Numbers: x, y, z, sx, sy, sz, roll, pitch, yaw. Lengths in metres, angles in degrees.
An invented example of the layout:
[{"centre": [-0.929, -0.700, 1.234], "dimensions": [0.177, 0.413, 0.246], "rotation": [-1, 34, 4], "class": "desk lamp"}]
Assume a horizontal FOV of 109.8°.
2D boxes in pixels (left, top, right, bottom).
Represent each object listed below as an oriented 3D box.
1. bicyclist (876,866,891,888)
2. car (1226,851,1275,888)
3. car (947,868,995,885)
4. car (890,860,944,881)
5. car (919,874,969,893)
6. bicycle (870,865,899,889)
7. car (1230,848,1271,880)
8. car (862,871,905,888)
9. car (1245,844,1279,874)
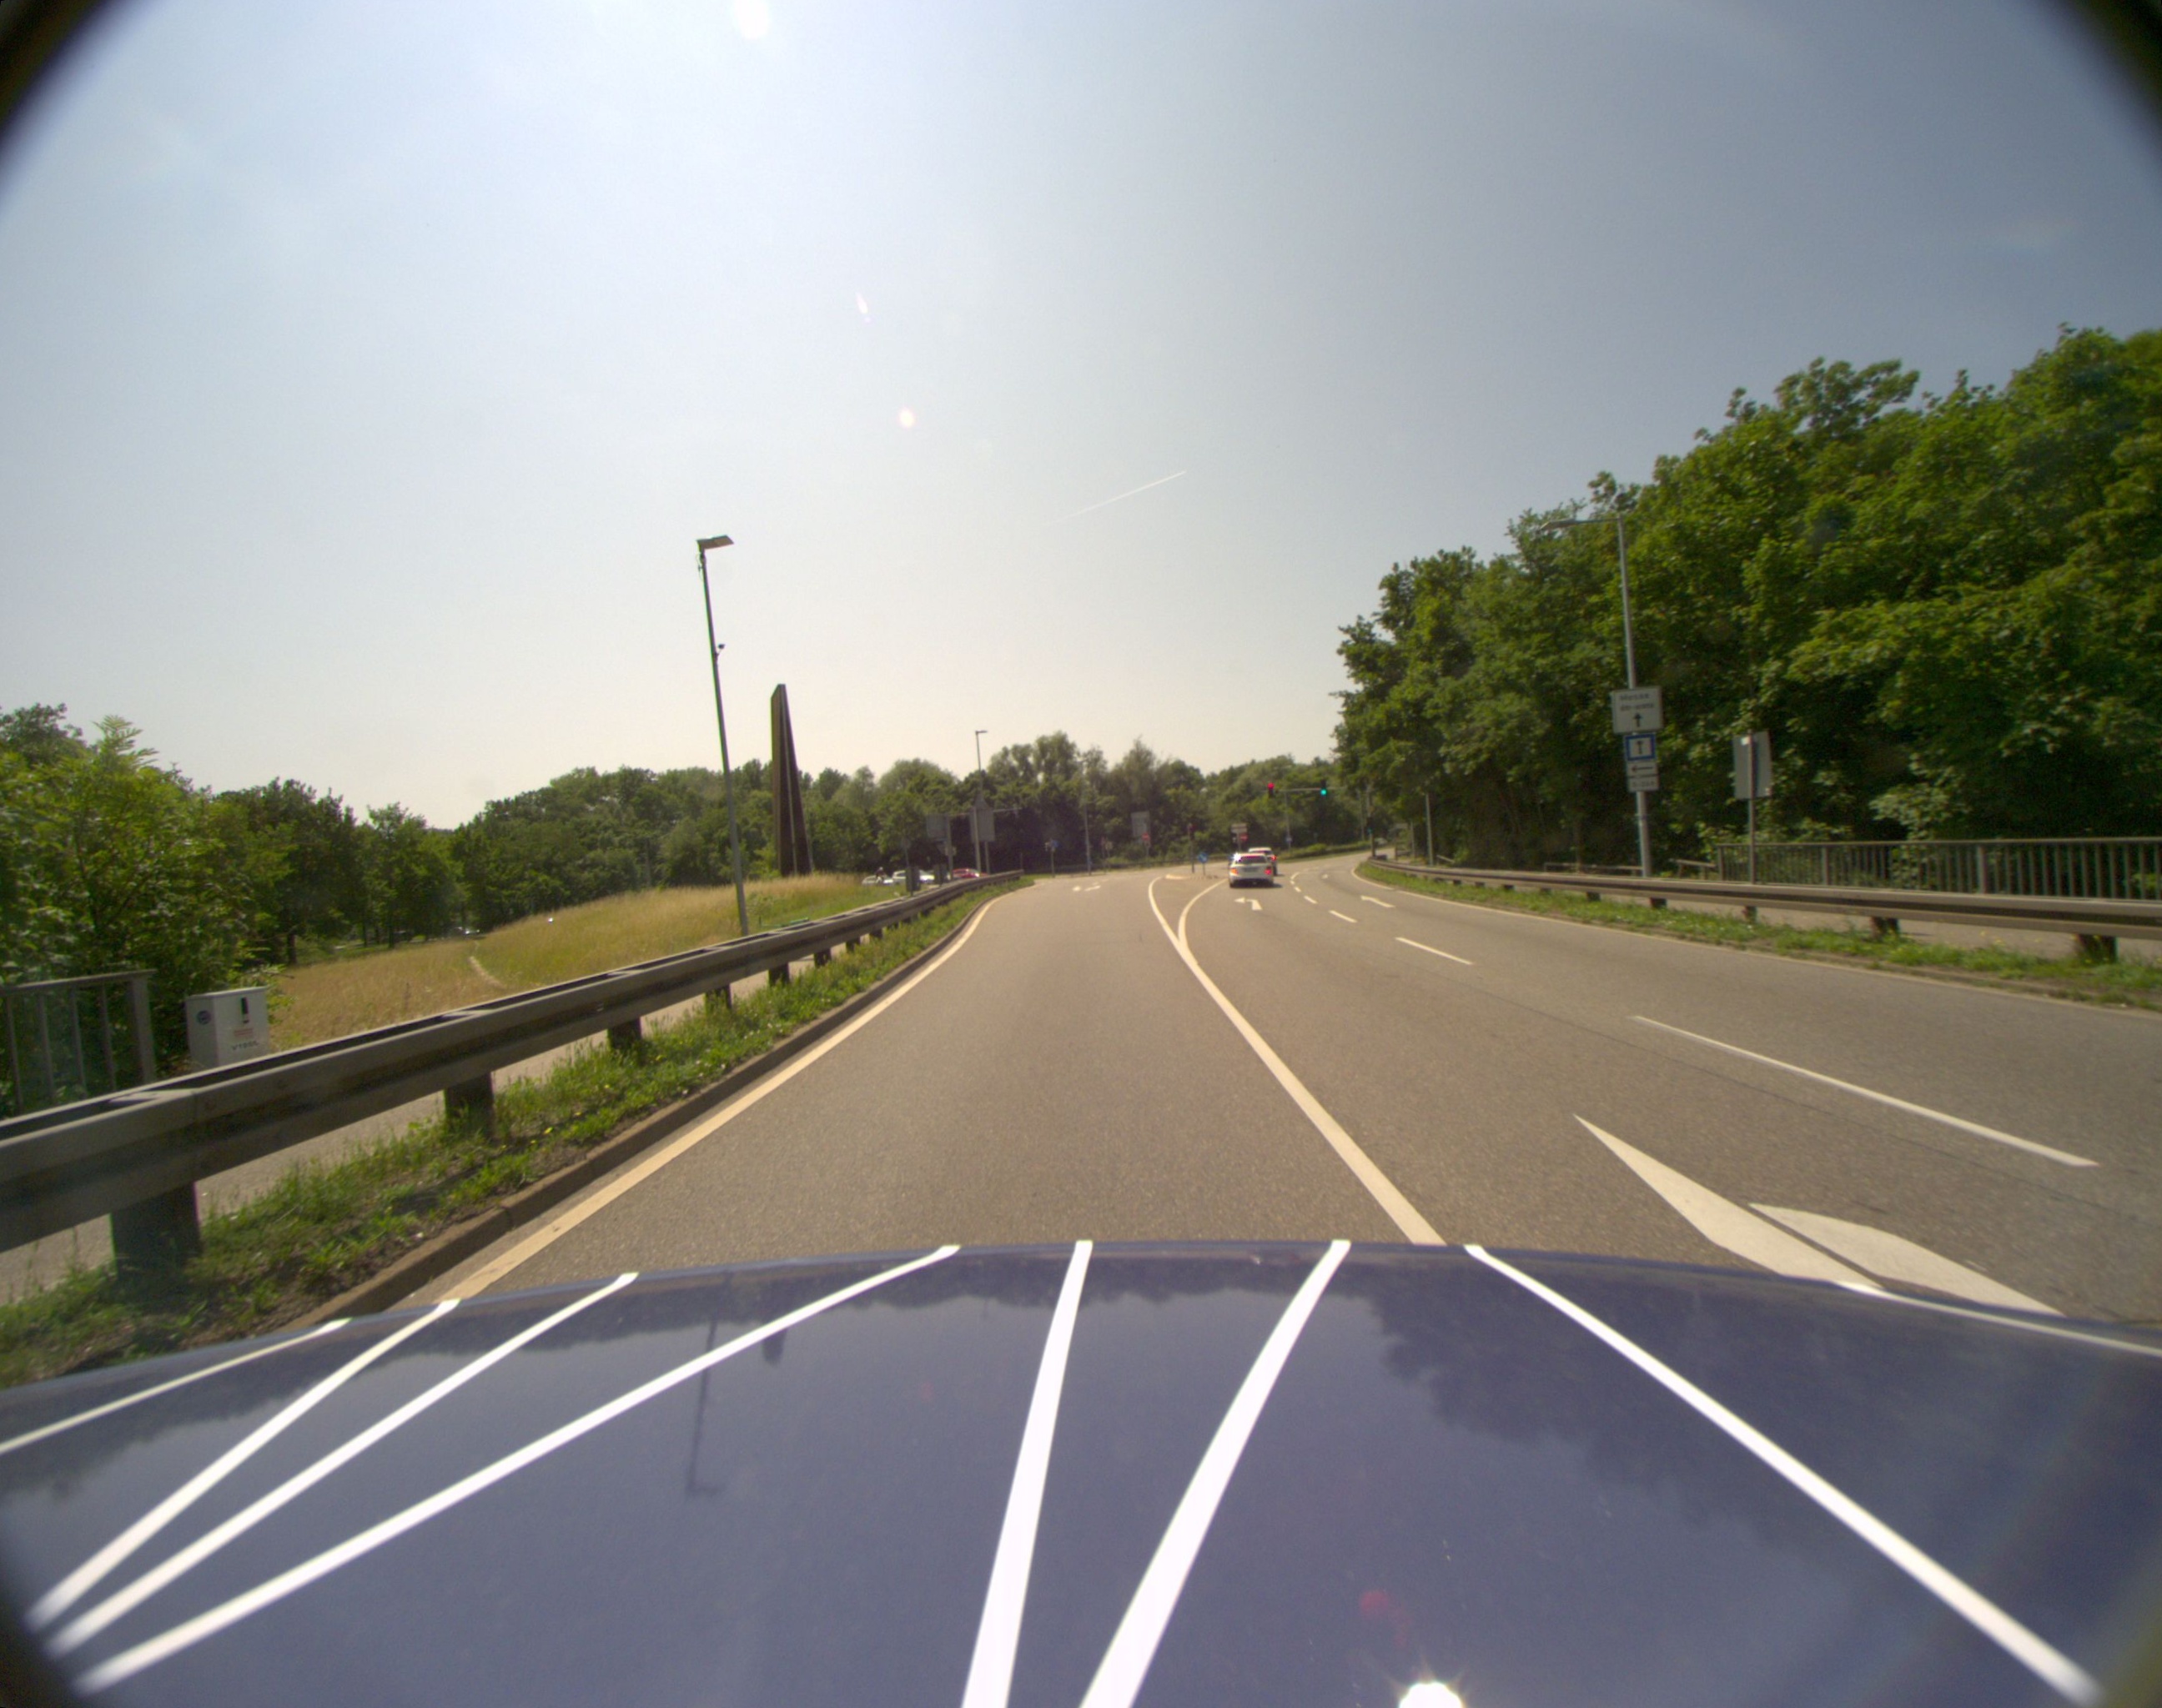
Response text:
[{"centre": [-14.300, 1.660, 54.920], "dimensions": [0.690, 1.589, 0.672], "rotation": [-3, 1, 39], "class": "bicyclist"}, {"centre": [7.268, 0.615, 32.305], "dimensions": [1.830, 1.398, 4.892], "rotation": [-1, 0, 14], "class": "car"}, {"centre": [-10.061, 2.052, 69.585], "dimensions": [4.176, 1.346, 1.758], "rotation": [-4, 0, 34], "class": "car"}, {"centre": [-13.689, 1.421, 63.475], "dimensions": [4.286, 1.497, 1.871], "rotation": [-4, 0, 34], "class": "car"}, {"centre": [-12.072, 2.640, 66.940], "dimensions": [4.176, 1.415, 1.871], "rotation": [-4, 0, 34], "class": "car"}, {"centre": [-14.155, 1.671, 54.797], "dimensions": [2.368, 1.565, 0.658], "rotation": [-4, 0, 39], "class": "bicycle"}, {"centre": [8.584, 0.470, 38.244], "dimensions": [1.830, 1.398, 4.551], "rotation": [-3, 0, 14], "class": "car"}, {"centre": [-18.498, 2.405, 71.130], "dimensions": [3.990, 1.422, 1.585], "rotation": [-4, 0, 34], "class": "car"}, {"centre": [10.697, 0.233, 45.121], "dimensions": [1.831, 1.629, 4.582], "rotation": [-2, 0, 12], "class": "car"}]
